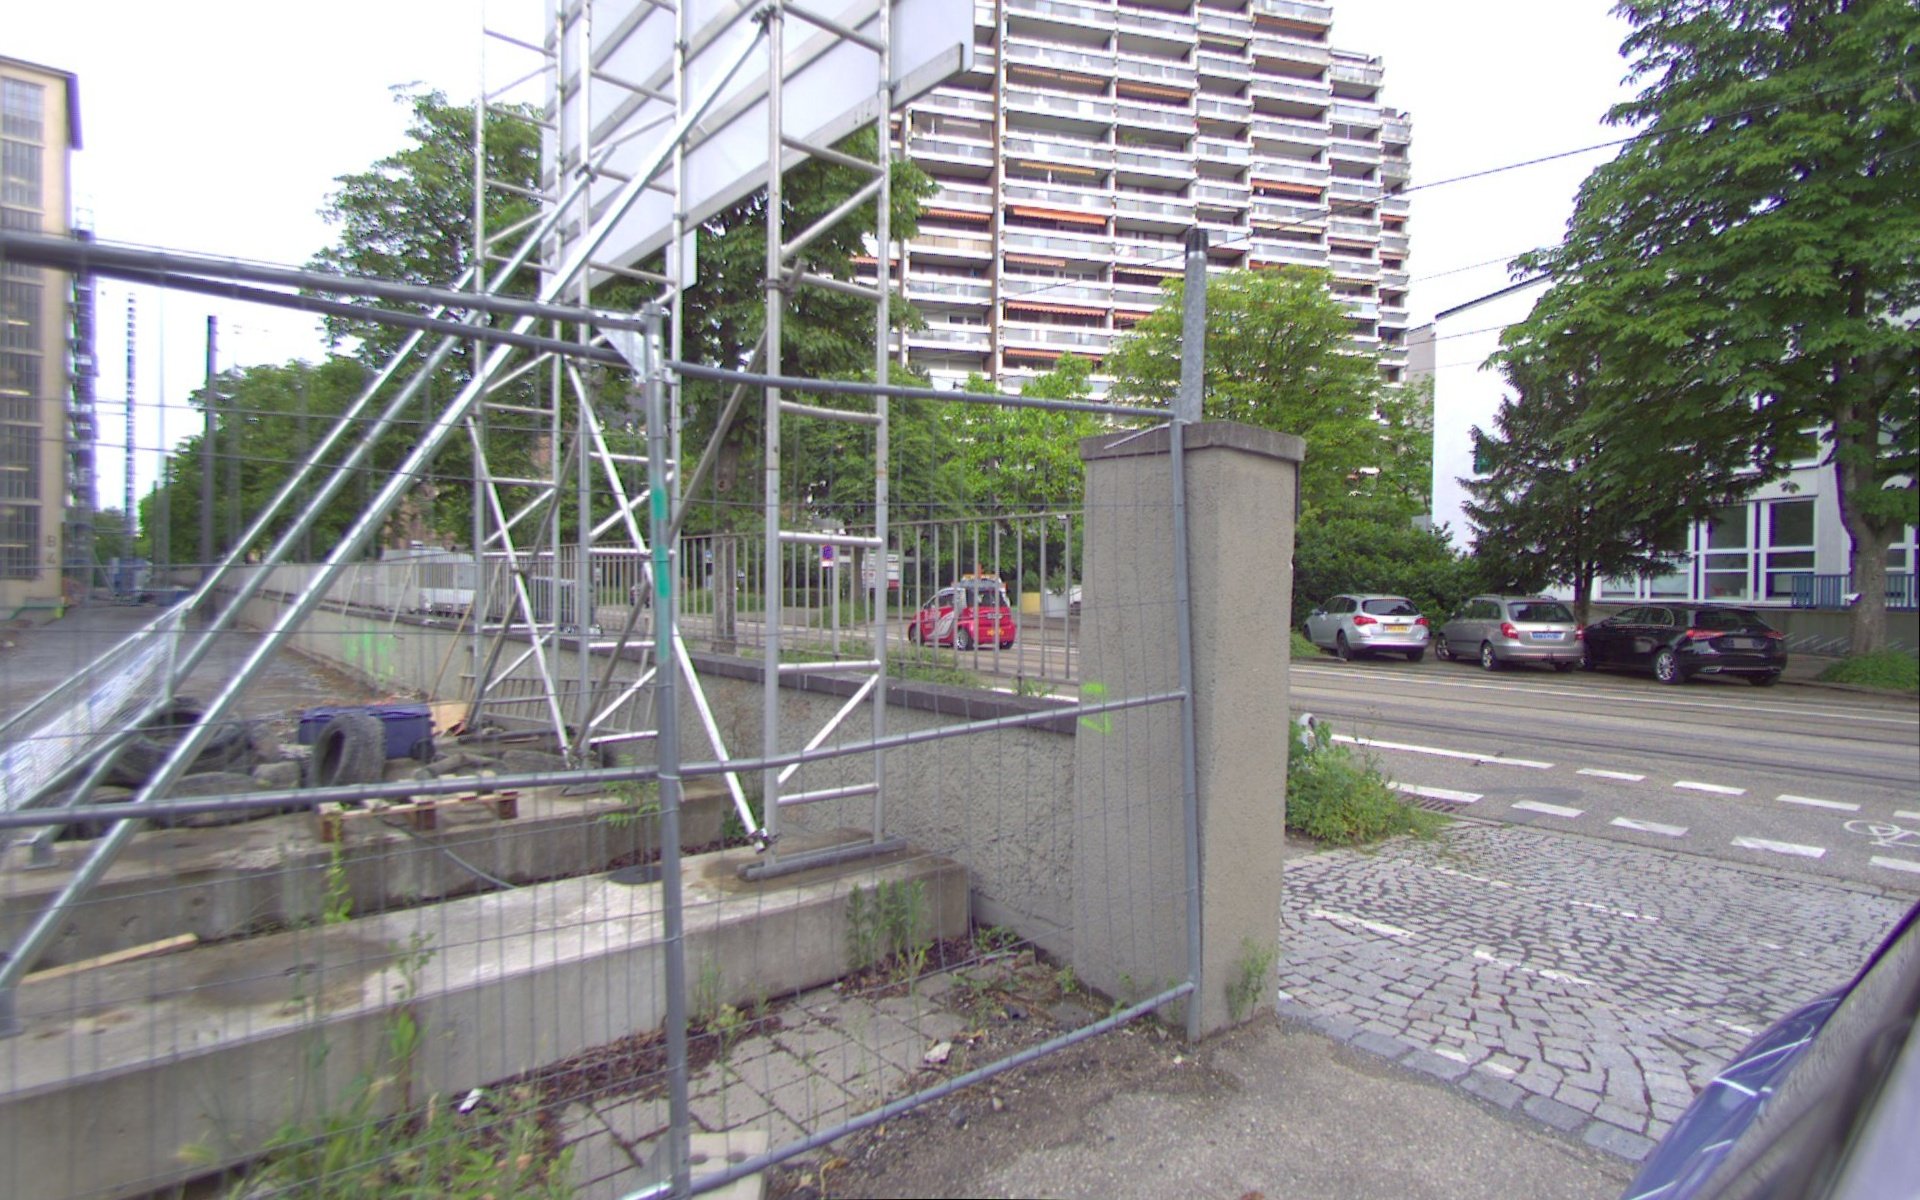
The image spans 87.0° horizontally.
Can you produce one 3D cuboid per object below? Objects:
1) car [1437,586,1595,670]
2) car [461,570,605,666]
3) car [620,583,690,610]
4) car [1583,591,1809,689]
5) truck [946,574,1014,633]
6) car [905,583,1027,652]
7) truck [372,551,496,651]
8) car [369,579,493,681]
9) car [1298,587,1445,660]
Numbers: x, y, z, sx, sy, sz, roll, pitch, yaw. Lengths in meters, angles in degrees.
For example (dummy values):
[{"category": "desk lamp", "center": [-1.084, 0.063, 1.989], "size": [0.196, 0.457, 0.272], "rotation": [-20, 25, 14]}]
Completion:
[{"category": "car", "center": [11.433, 0.512, 21.069], "size": [1.545, 1.543, 3.647], "rotation": [0, 1, 5]}, {"category": "car", "center": [-9.248, 0.333, 21.746], "size": [1.629, 1.835, 4.079], "rotation": [3, 0, -40]}, {"category": "car", "center": [-16.951, -0.208, 56.289], "size": [1.625, 1.394, 3.458], "rotation": [2, 2, 36]}, {"category": "car", "center": [13.273, 0.638, 18.550], "size": [1.670, 1.543, 3.701], "rotation": [0, 2, 5]}, {"category": "truck", "center": [0.760, 0.060, 34.527], "size": [1.965, 1.871, 5.058], "rotation": [0, 1, 5]}, {"category": "car", "center": [0.110, 0.380, 25.140], "size": [1.652, 1.541, 2.779], "rotation": [-2, 3, -40]}, {"category": "truck", "center": [-15.351, -0.039, 29.385], "size": [2.082, 2.635, 5.485], "rotation": [0, 1, -40]}, {"category": "car", "center": [-15.313, 0.721, 29.140], "size": [2.082, 2.635, 5.485], "rotation": [-1, 1, -39]}, {"category": "car", "center": [9.539, 0.473, 23.876], "size": [1.770, 1.483, 4.431], "rotation": [1, 2, 2]}]
